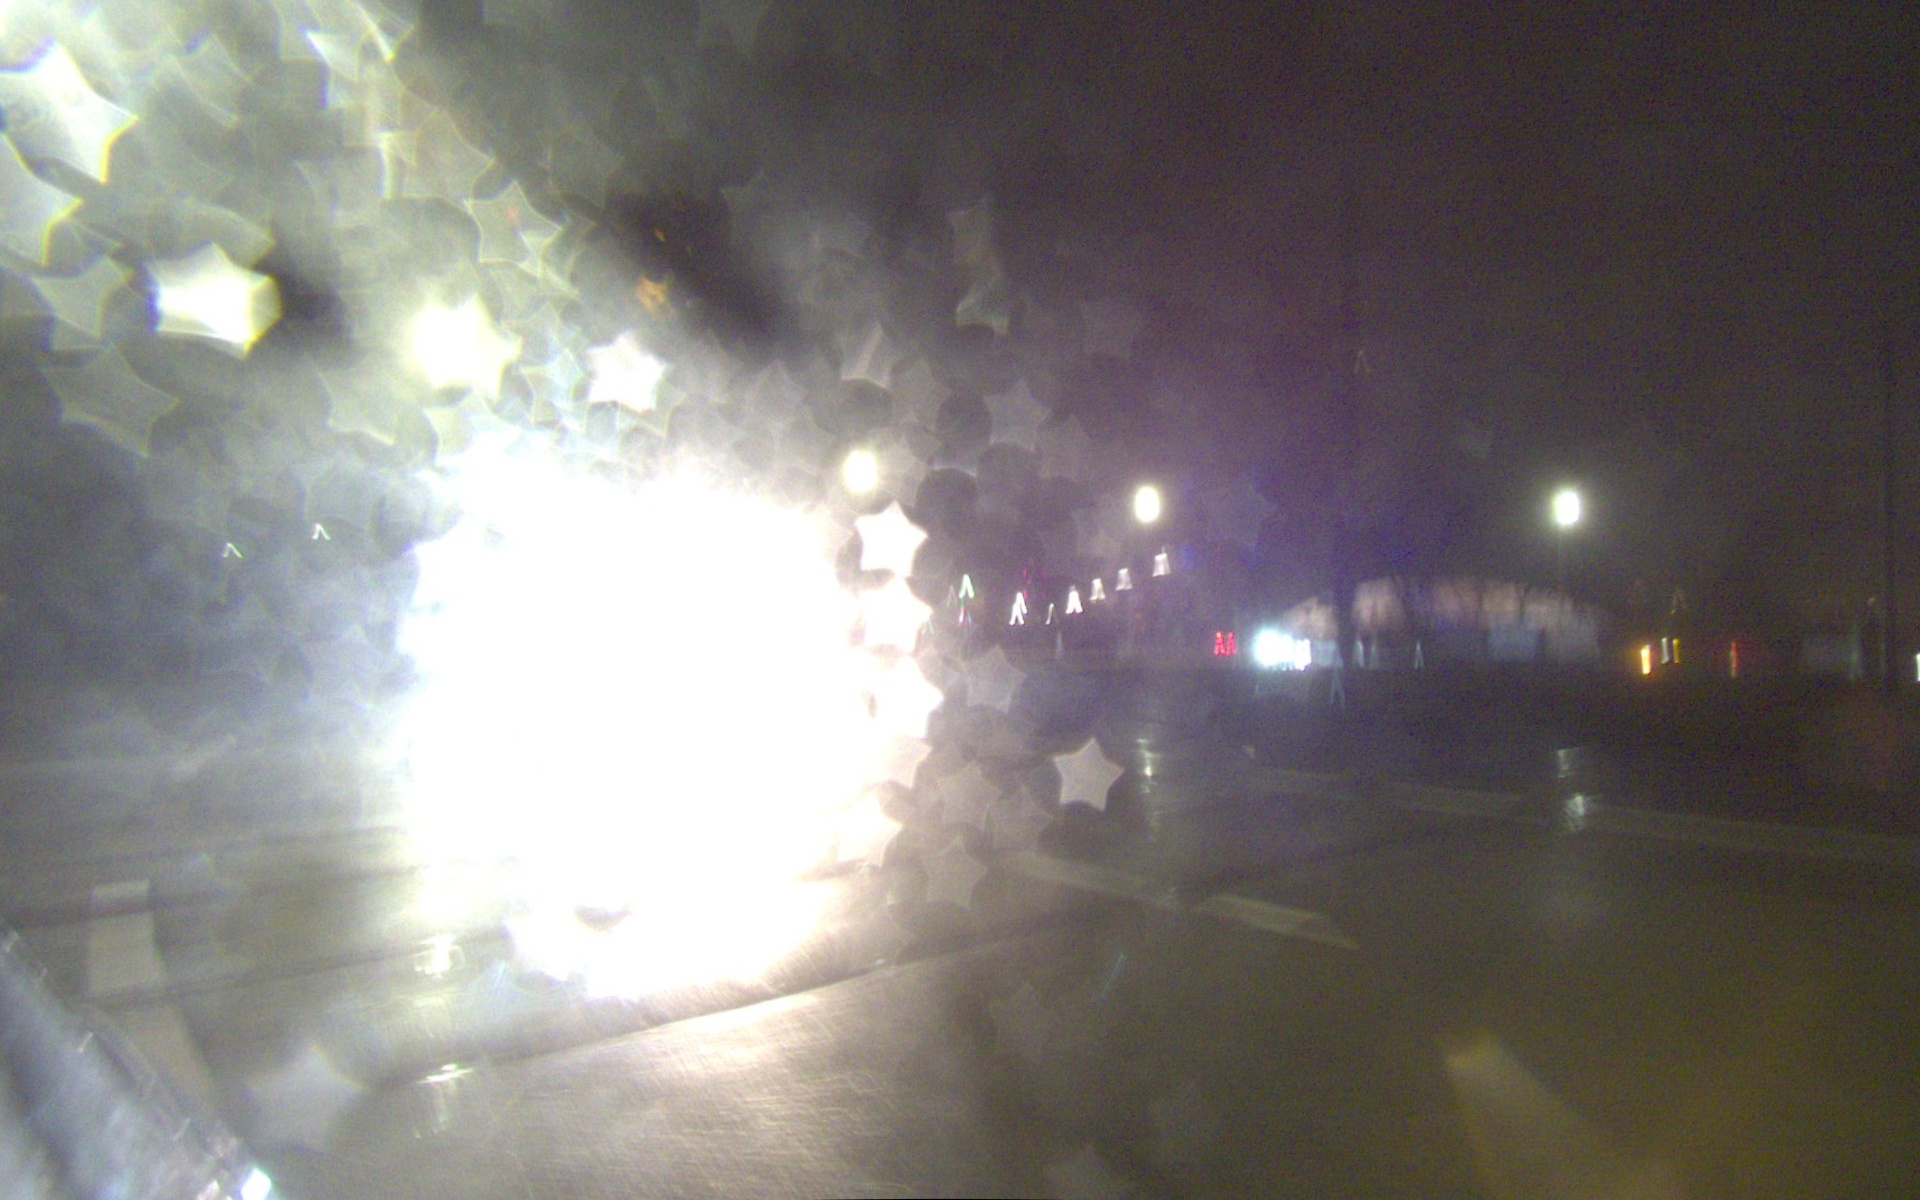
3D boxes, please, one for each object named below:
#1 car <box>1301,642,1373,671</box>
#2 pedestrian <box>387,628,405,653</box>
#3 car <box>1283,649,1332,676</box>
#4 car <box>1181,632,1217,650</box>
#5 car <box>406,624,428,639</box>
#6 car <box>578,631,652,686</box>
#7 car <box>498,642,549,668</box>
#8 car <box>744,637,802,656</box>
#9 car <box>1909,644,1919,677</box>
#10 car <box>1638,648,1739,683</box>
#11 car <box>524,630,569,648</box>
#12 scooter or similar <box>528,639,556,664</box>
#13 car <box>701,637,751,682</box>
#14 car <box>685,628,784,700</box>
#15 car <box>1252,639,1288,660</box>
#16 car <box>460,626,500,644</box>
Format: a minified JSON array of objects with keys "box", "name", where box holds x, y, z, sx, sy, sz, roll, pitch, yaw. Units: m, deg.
[{"box":[22.573,3.377,60.717,3.837,1.630,1.764,-1,-2,15],"name":"car"},{"box":[-33.594,2.417,60.286,0.836,1.496,0.717,-2,-2,44],"name":"pedestrian"},{"box":[23.031,4.127,67.219,1.734,1.586,4.002,0,-1,-2],"name":"car"},{"box":[27.521,4.704,116.689,1.966,2.029,4.436,0,-2,-18],"name":"car"},{"box":[-65.290,3.803,121.607,2.035,1.729,5.055,1,-2,-32],"name":"car"},{"box":[-11.633,1.921,34.413,1.919,1.732,4.453,0,-1,-13],"name":"car"},{"box":[-26.859,3.350,62.229,1.644,1.514,3.756,1,-2,-44],"name":"car"},{"box":[-13.963,3.455,75.584,3.925,1.383,1.814,-1,-2,25],"name":"car"},{"box":[45.758,2.727,45.639,4.009,1.455,1.811,-1,-2,35],"name":"car"},{"box":[36.581,3.277,50.936,3.855,1.630,1.756,-1,-2,28],"name":"car"},{"box":[-42.356,3.961,103.646,5.032,1.729,2.044,-1,-2,37],"name":"car"},{"box":[-18.724,2.314,45.375,1.085,1.106,0.319,2,-2,-17],"name":"scooter or similar"},{"box":[-9.782,2.422,42.163,1.804,1.719,4.206,0,-2,-16],"name":"car"},{"box":[-5.346,1.459,24.584,1.807,1.538,4.881,0,-1,-6],"name":"car"},{"box":[24.541,3.934,80.138,1.656,1.541,3.998,0,-1,1],"name":"car"},{"box":[-48.725,3.533,102.743,5.133,1.745,2.033,-2,-2,44],"name":"car"}]
